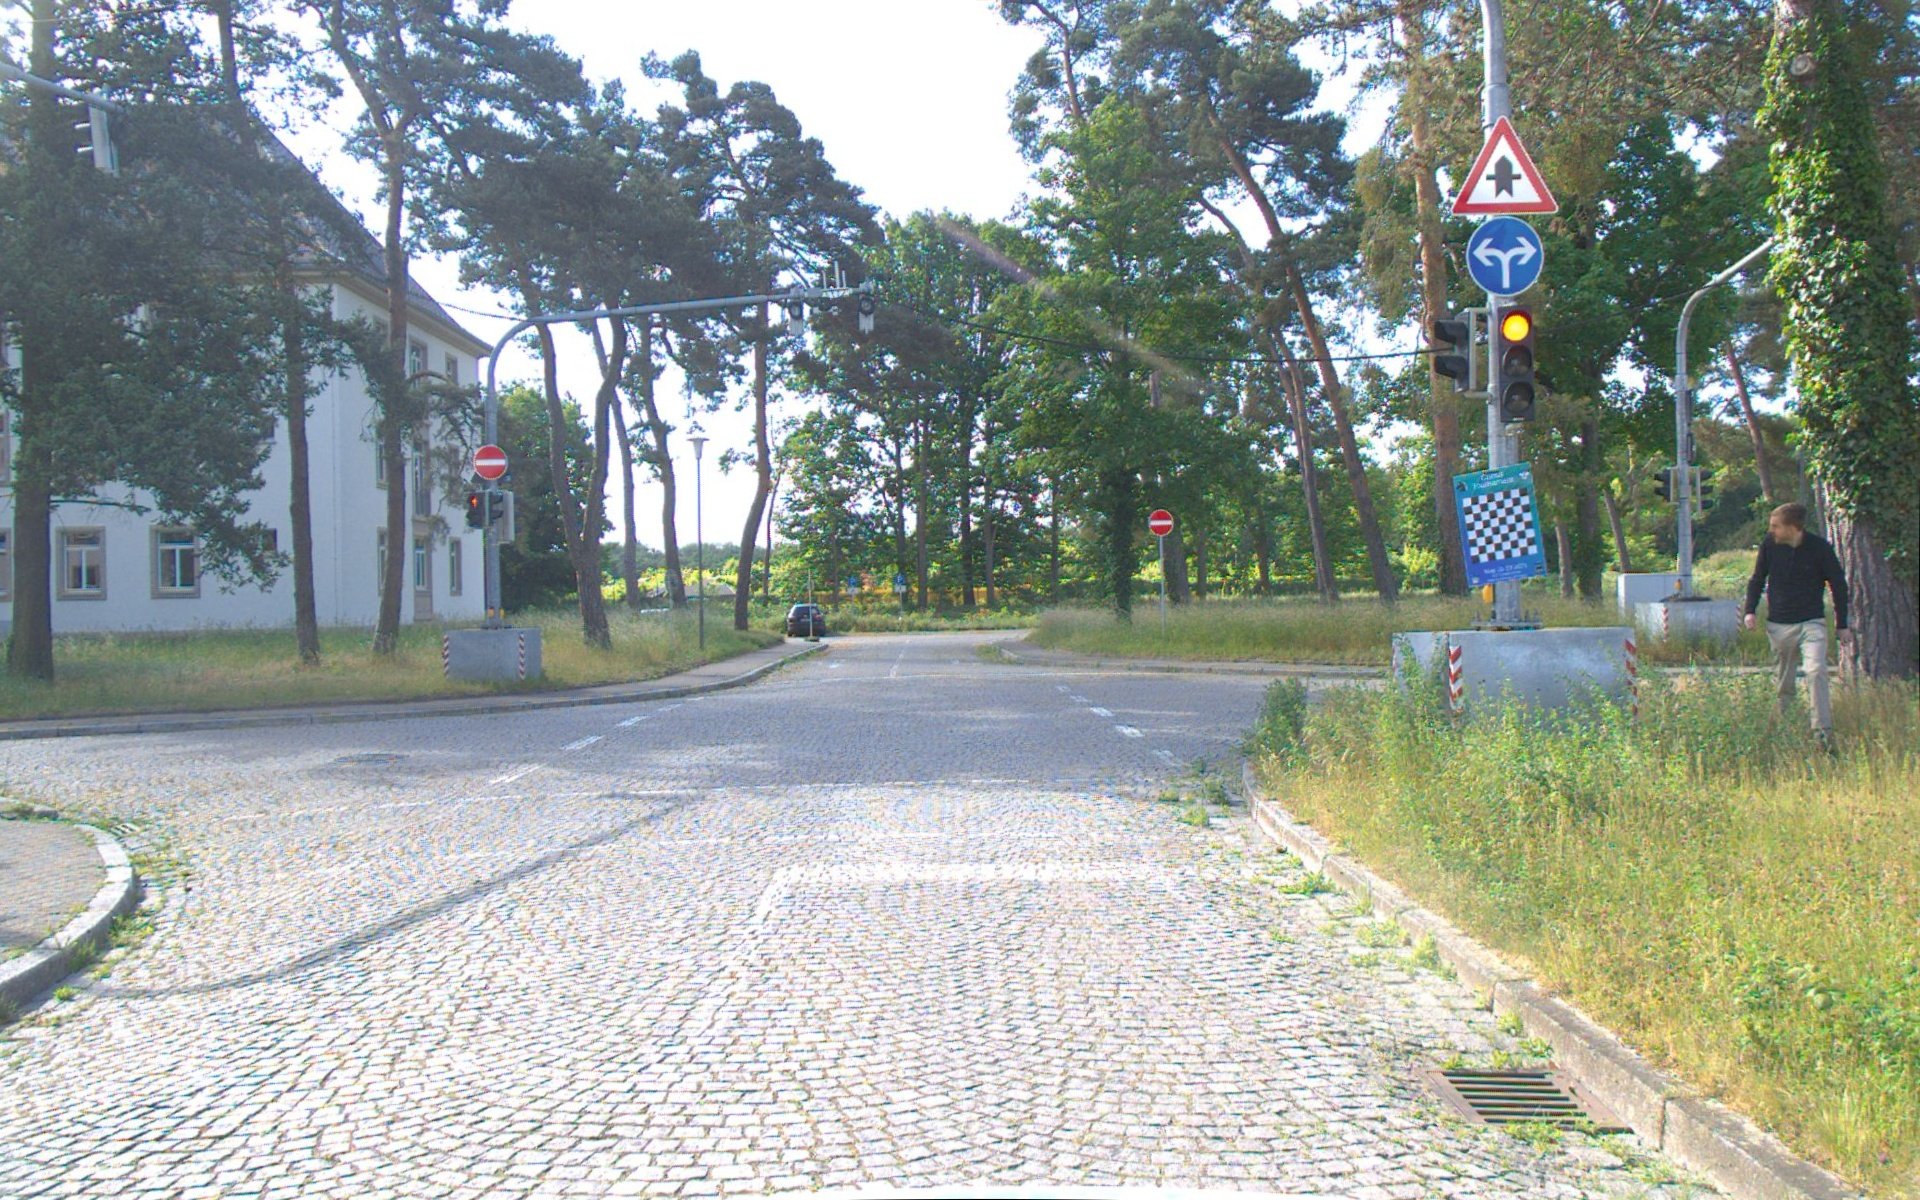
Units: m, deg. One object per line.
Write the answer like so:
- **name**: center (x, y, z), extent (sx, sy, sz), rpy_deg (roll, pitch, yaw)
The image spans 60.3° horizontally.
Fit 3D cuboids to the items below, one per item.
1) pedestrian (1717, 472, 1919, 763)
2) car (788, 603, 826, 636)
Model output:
- **pedestrian**: center (5.759, 0.114, 11.111), extent (1.145, 1.827, 1.062), rpy_deg (-2, 0, 27)
- **car**: center (-7.420, 0.913, 80.274), extent (1.676, 1.522, 3.916), rpy_deg (-2, 0, -4)
